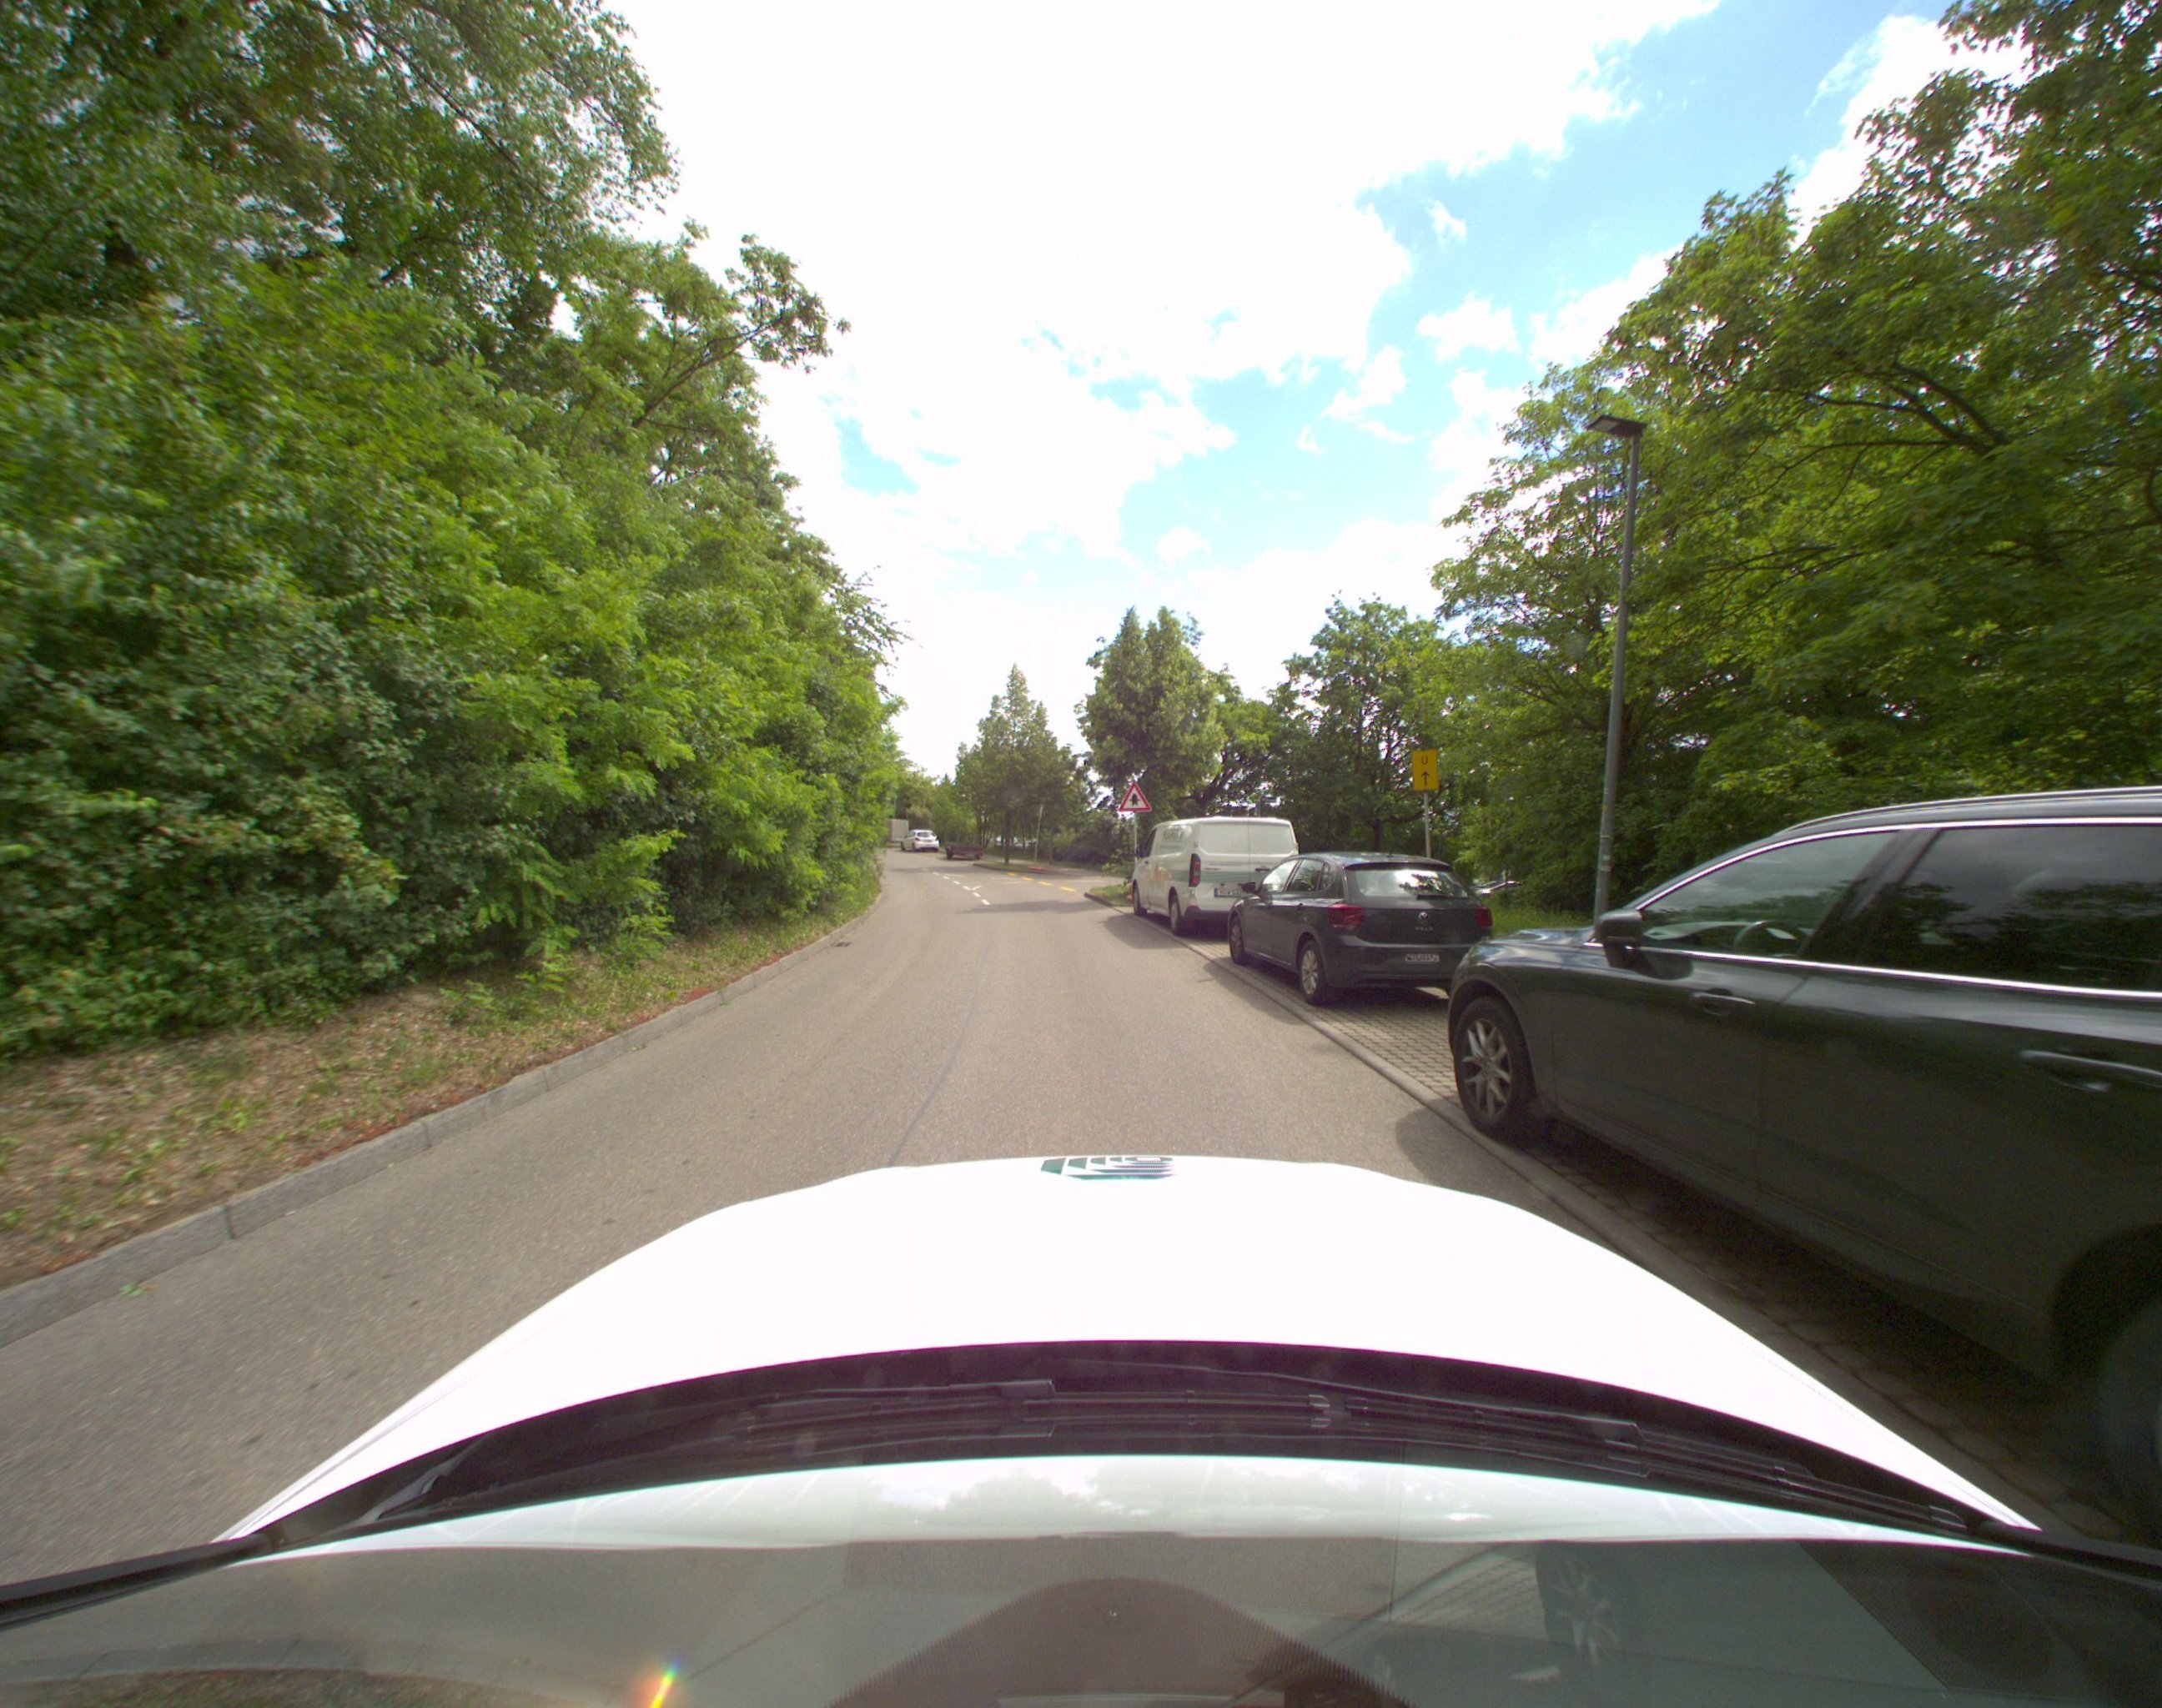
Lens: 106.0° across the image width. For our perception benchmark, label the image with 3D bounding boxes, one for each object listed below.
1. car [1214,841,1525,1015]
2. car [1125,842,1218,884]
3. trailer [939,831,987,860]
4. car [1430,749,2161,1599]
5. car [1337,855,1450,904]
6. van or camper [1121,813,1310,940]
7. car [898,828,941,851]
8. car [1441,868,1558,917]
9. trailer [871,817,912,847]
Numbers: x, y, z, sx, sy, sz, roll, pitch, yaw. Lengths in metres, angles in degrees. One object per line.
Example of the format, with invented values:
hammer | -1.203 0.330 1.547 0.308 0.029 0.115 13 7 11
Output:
car | 2.855 0.650 9.082 1.794 1.464 3.994 2 0 -4
car | 3.727 0.352 33.999 3.530 1.480 1.779 3 2 -5
trailer | -6.887 -0.517 47.172 1.792 1.525 3.970 1 3 -24
car | 3.050 0.596 2.638 1.987 1.626 4.277 0 1 -1
car | 13.469 1.078 35.202 3.984 1.595 1.995 7 1 -7
van or camper | 2.212 0.307 15.107 1.992 1.920 5.252 1 1 -7
car | -11.033 -1.012 55.504 1.779 1.411 3.965 0 4 -28
car | 18.165 1.658 35.439 3.984 1.595 1.995 7 1 -7
trailer | -14.233 -1.683 60.989 1.753 2.110 3.959 -1 3 -34
